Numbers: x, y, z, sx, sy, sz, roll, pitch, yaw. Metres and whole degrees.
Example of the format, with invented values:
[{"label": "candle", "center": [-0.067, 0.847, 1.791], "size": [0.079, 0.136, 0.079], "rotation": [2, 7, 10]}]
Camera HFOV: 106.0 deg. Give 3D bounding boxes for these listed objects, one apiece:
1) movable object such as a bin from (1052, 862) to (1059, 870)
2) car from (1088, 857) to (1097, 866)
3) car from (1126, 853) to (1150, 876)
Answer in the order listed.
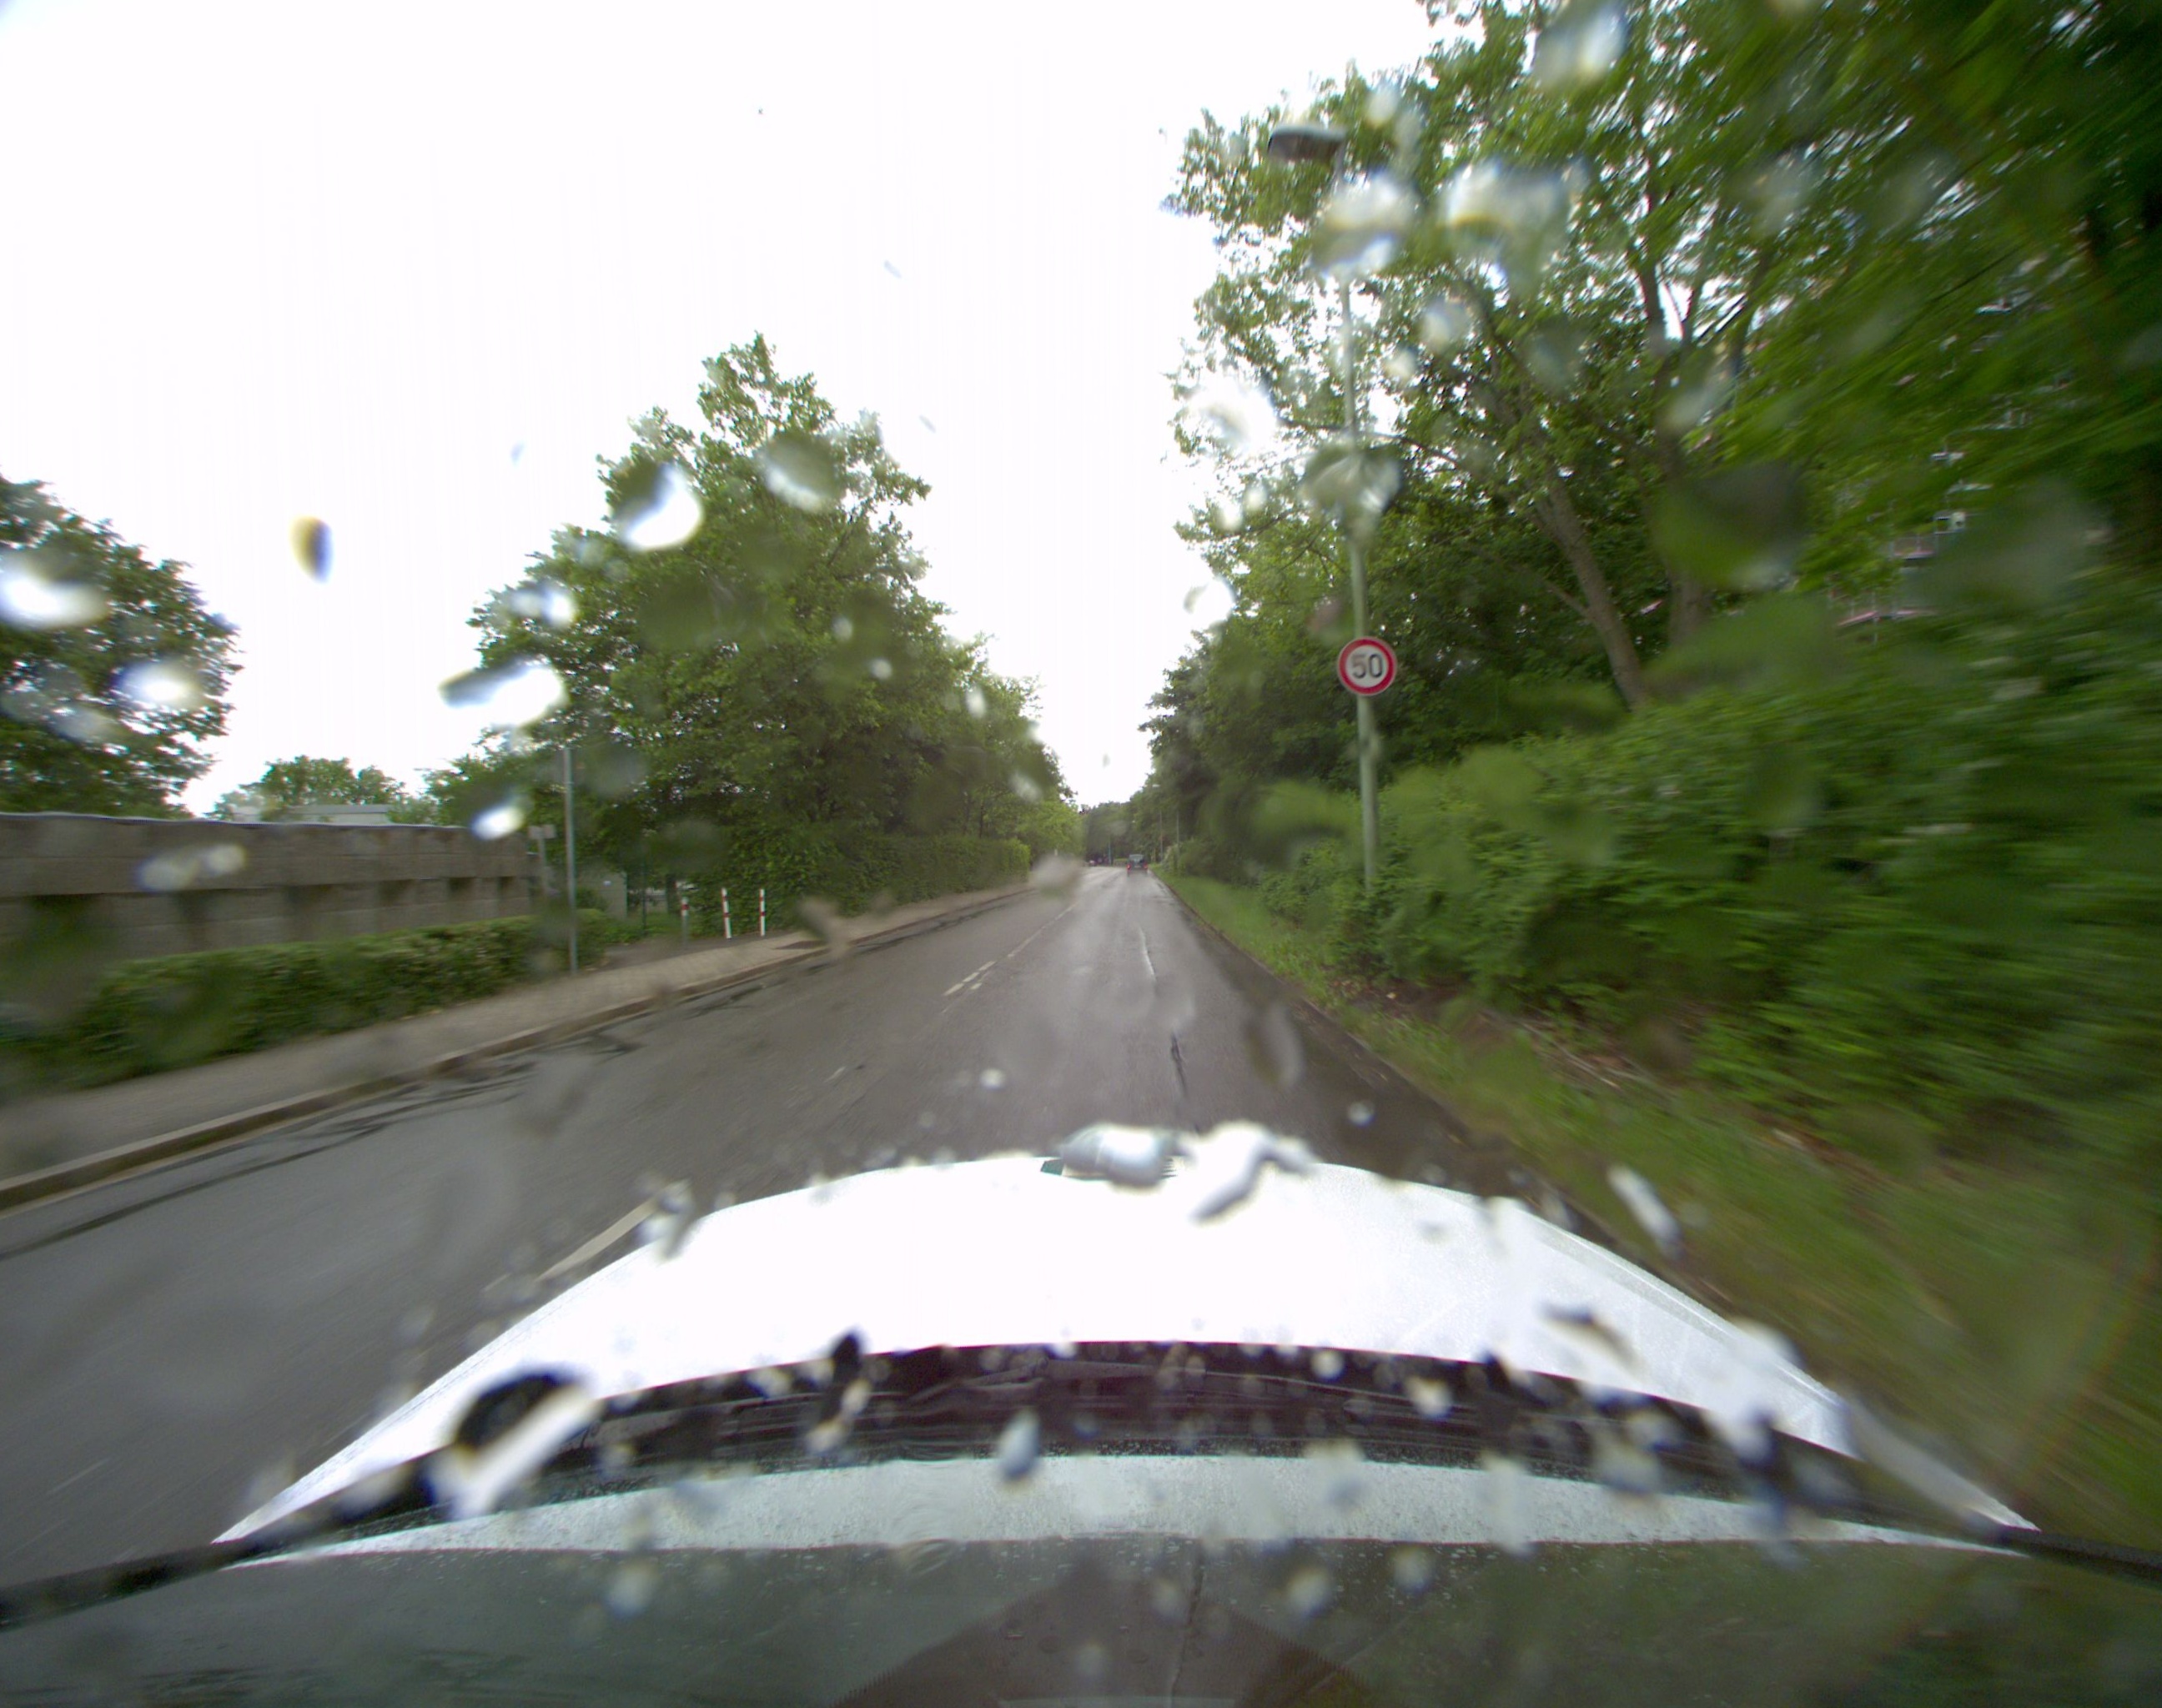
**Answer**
[{"label": "movable object such as a bin", "center": [-3.564, 1.725, 114.610], "size": [0.670, 1.026, 0.827], "rotation": [-3, 0, -28]}, {"label": "car", "center": [2.753, 1.745, 195.420], "size": [1.986, 2.013, 4.002], "rotation": [1, 0, 2]}, {"label": "car", "center": [4.909, 0.842, 70.196], "size": [1.984, 1.793, 4.006], "rotation": [1, 1, 4]}]
